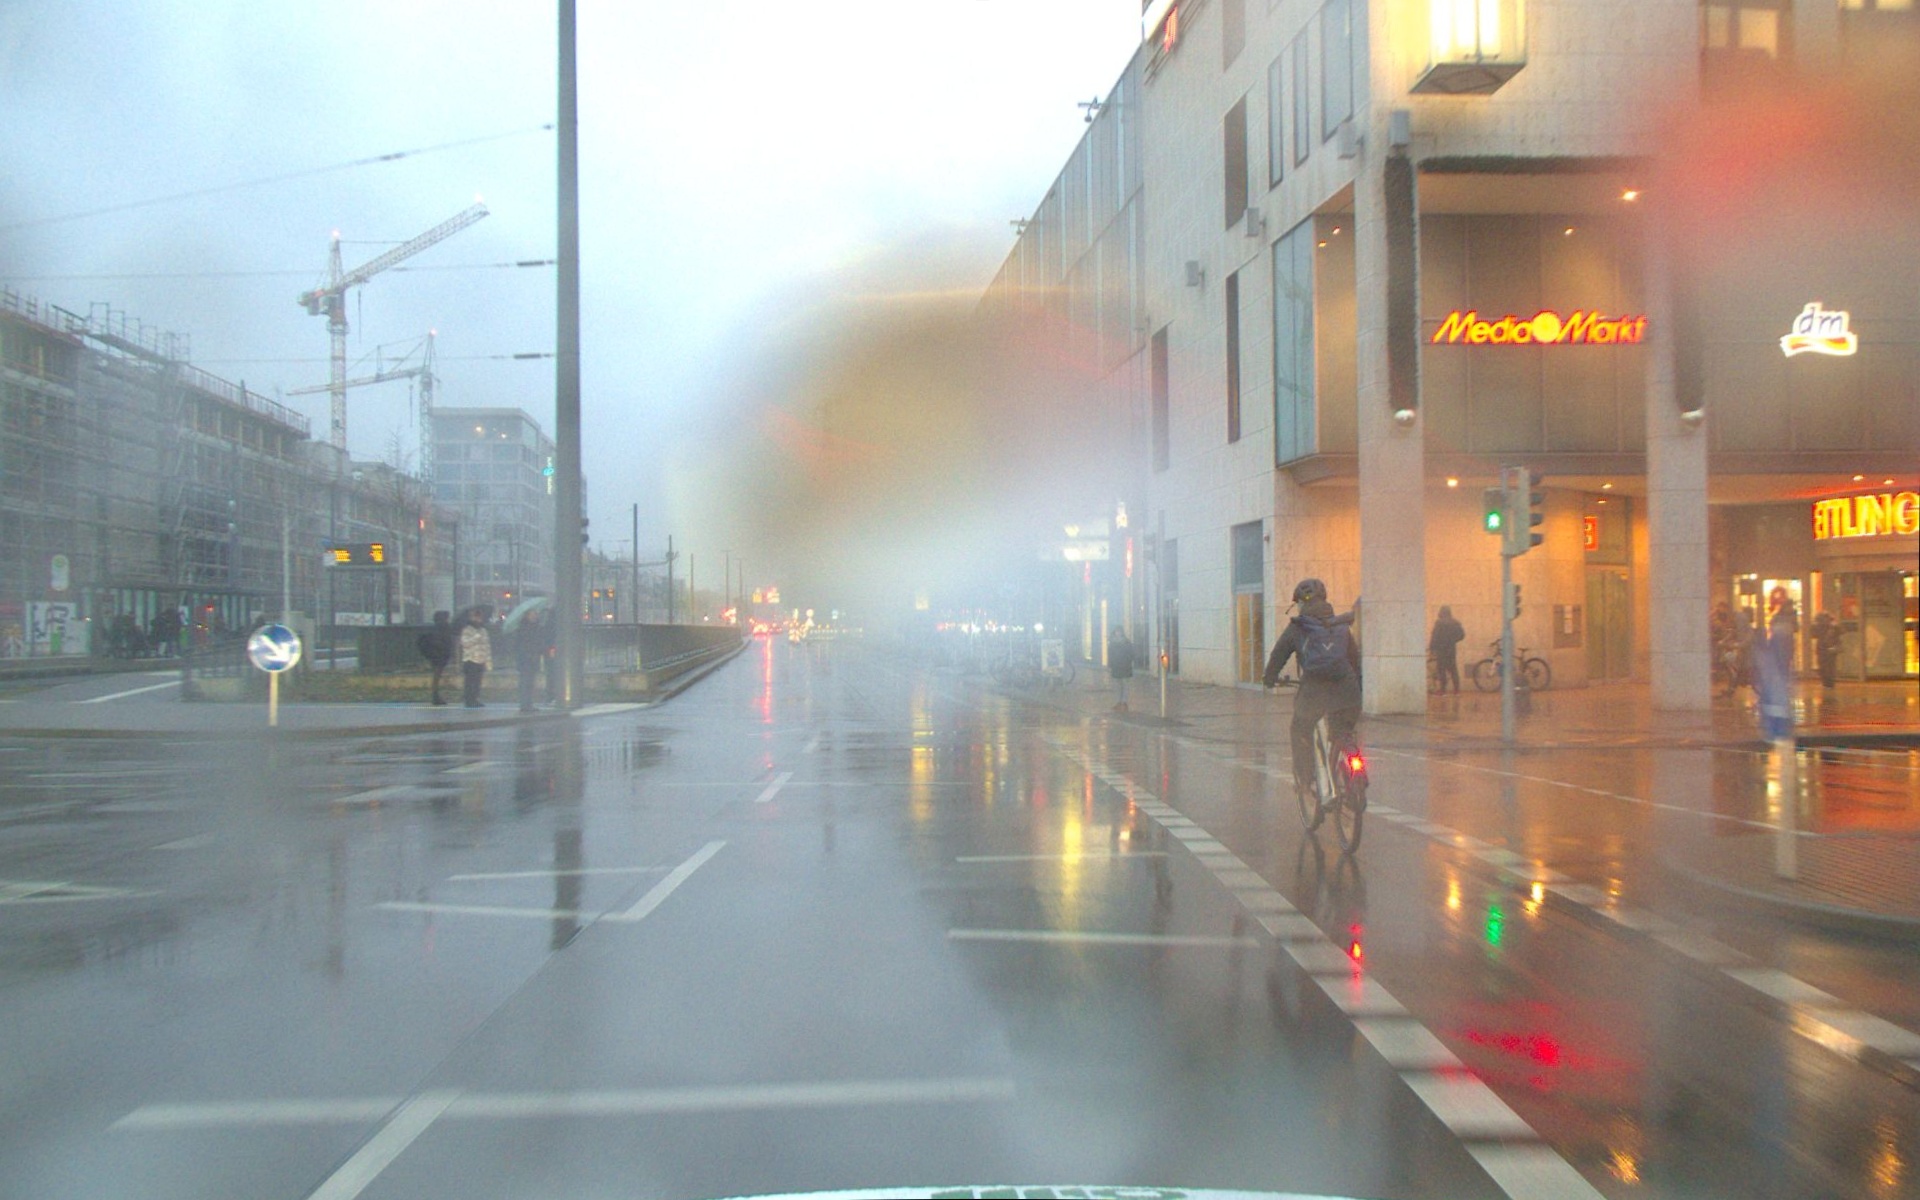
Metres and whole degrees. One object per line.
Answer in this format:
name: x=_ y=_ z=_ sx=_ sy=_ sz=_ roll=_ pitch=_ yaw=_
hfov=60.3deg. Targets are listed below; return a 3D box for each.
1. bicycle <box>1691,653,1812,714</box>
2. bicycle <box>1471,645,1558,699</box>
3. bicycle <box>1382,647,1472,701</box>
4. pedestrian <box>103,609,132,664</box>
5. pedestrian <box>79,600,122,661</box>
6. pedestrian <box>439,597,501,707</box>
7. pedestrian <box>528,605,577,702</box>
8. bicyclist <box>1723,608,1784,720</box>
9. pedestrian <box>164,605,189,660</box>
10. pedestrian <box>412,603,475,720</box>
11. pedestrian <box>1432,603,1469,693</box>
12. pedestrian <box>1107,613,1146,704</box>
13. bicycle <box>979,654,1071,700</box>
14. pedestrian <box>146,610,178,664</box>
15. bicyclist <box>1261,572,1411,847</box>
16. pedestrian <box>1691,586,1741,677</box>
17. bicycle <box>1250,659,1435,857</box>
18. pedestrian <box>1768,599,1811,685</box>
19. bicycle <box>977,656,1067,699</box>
bicycle: x=14.752 y=1.548 z=30.876 sx=1.919 sy=1.105 sz=0.927 roll=-1 pitch=-1 yaw=18
bicycle: x=11.396 y=1.476 z=34.004 sx=1.615 sy=1.088 sz=0.524 roll=1 pitch=-1 yaw=-7
bicycle: x=9.544 y=1.511 z=33.817 sx=1.736 sy=1.088 sz=0.523 roll=1 pitch=-1 yaw=-12
pedestrian: x=-29.528 y=1.273 z=57.949 sx=0.685 sy=1.914 sz=0.553 roll=1 pitch=-1 yaw=-4
pedestrian: x=-29.535 y=1.048 z=56.849 sx=0.924 sy=2.049 sz=1.092 roll=1 pitch=-1 yaw=-7
pedestrian: x=-8.463 y=0.896 z=28.564 sx=0.814 sy=1.864 sz=0.776 roll=2 pitch=-2 yaw=-34
pedestrian: x=-7.284 y=0.945 z=29.532 sx=0.601 sy=1.715 sz=0.575 roll=0 pitch=-2 yaw=38
bicyclist: x=14.793 y=1.173 z=30.872 sx=0.902 sy=2.049 sz=0.907 roll=-1 pitch=-1 yaw=20
pedestrian: x=-29.134 y=1.199 z=61.500 sx=0.559 sy=2.003 sz=0.664 roll=2 pitch=-2 yaw=-9
pedestrian: x=-9.215 y=1.095 z=29.505 sx=0.771 sy=2.049 sz=0.724 roll=0 pitch=-2 yaw=38
pedestrian: x=9.789 y=0.949 z=33.018 sx=0.587 sy=1.775 sz=0.525 roll=1 pitch=-1 yaw=4
pedestrian: x=3.213 y=1.126 z=31.951 sx=0.624 sy=1.739 sz=0.573 roll=-1 pitch=-1 yaw=-4
bicycle: x=1.745 y=2.051 z=44.359 sx=2.395 sy=1.174 sz=0.673 roll=-1 pitch=-1 yaw=-5
pedestrian: x=-29.084 y=1.348 z=60.270 sx=0.750 sy=1.931 sz=0.762 roll=1 pitch=-3 yaw=-4
bicyclist: x=2.414 y=0.679 z=10.714 sx=0.689 sy=1.689 sz=0.963 roll=0 pitch=-1 yaw=-4
pedestrian: x=17.286 y=0.712 z=37.837 sx=0.828 sy=2.049 sz=0.698 roll=-1 pitch=-1 yaw=5
bicycle: x=2.425 y=0.965 z=10.692 sx=0.694 sy=1.113 sz=1.782 roll=0 pitch=0 yaw=-4
pedestrian: x=17.092 y=0.857 z=34.086 sx=0.720 sy=1.748 sz=0.738 roll=-2 pitch=-2 yaw=24
bicycle: x=1.688 y=2.110 z=45.109 sx=2.378 sy=1.118 sz=0.711 roll=-1 pitch=-1 yaw=-5
